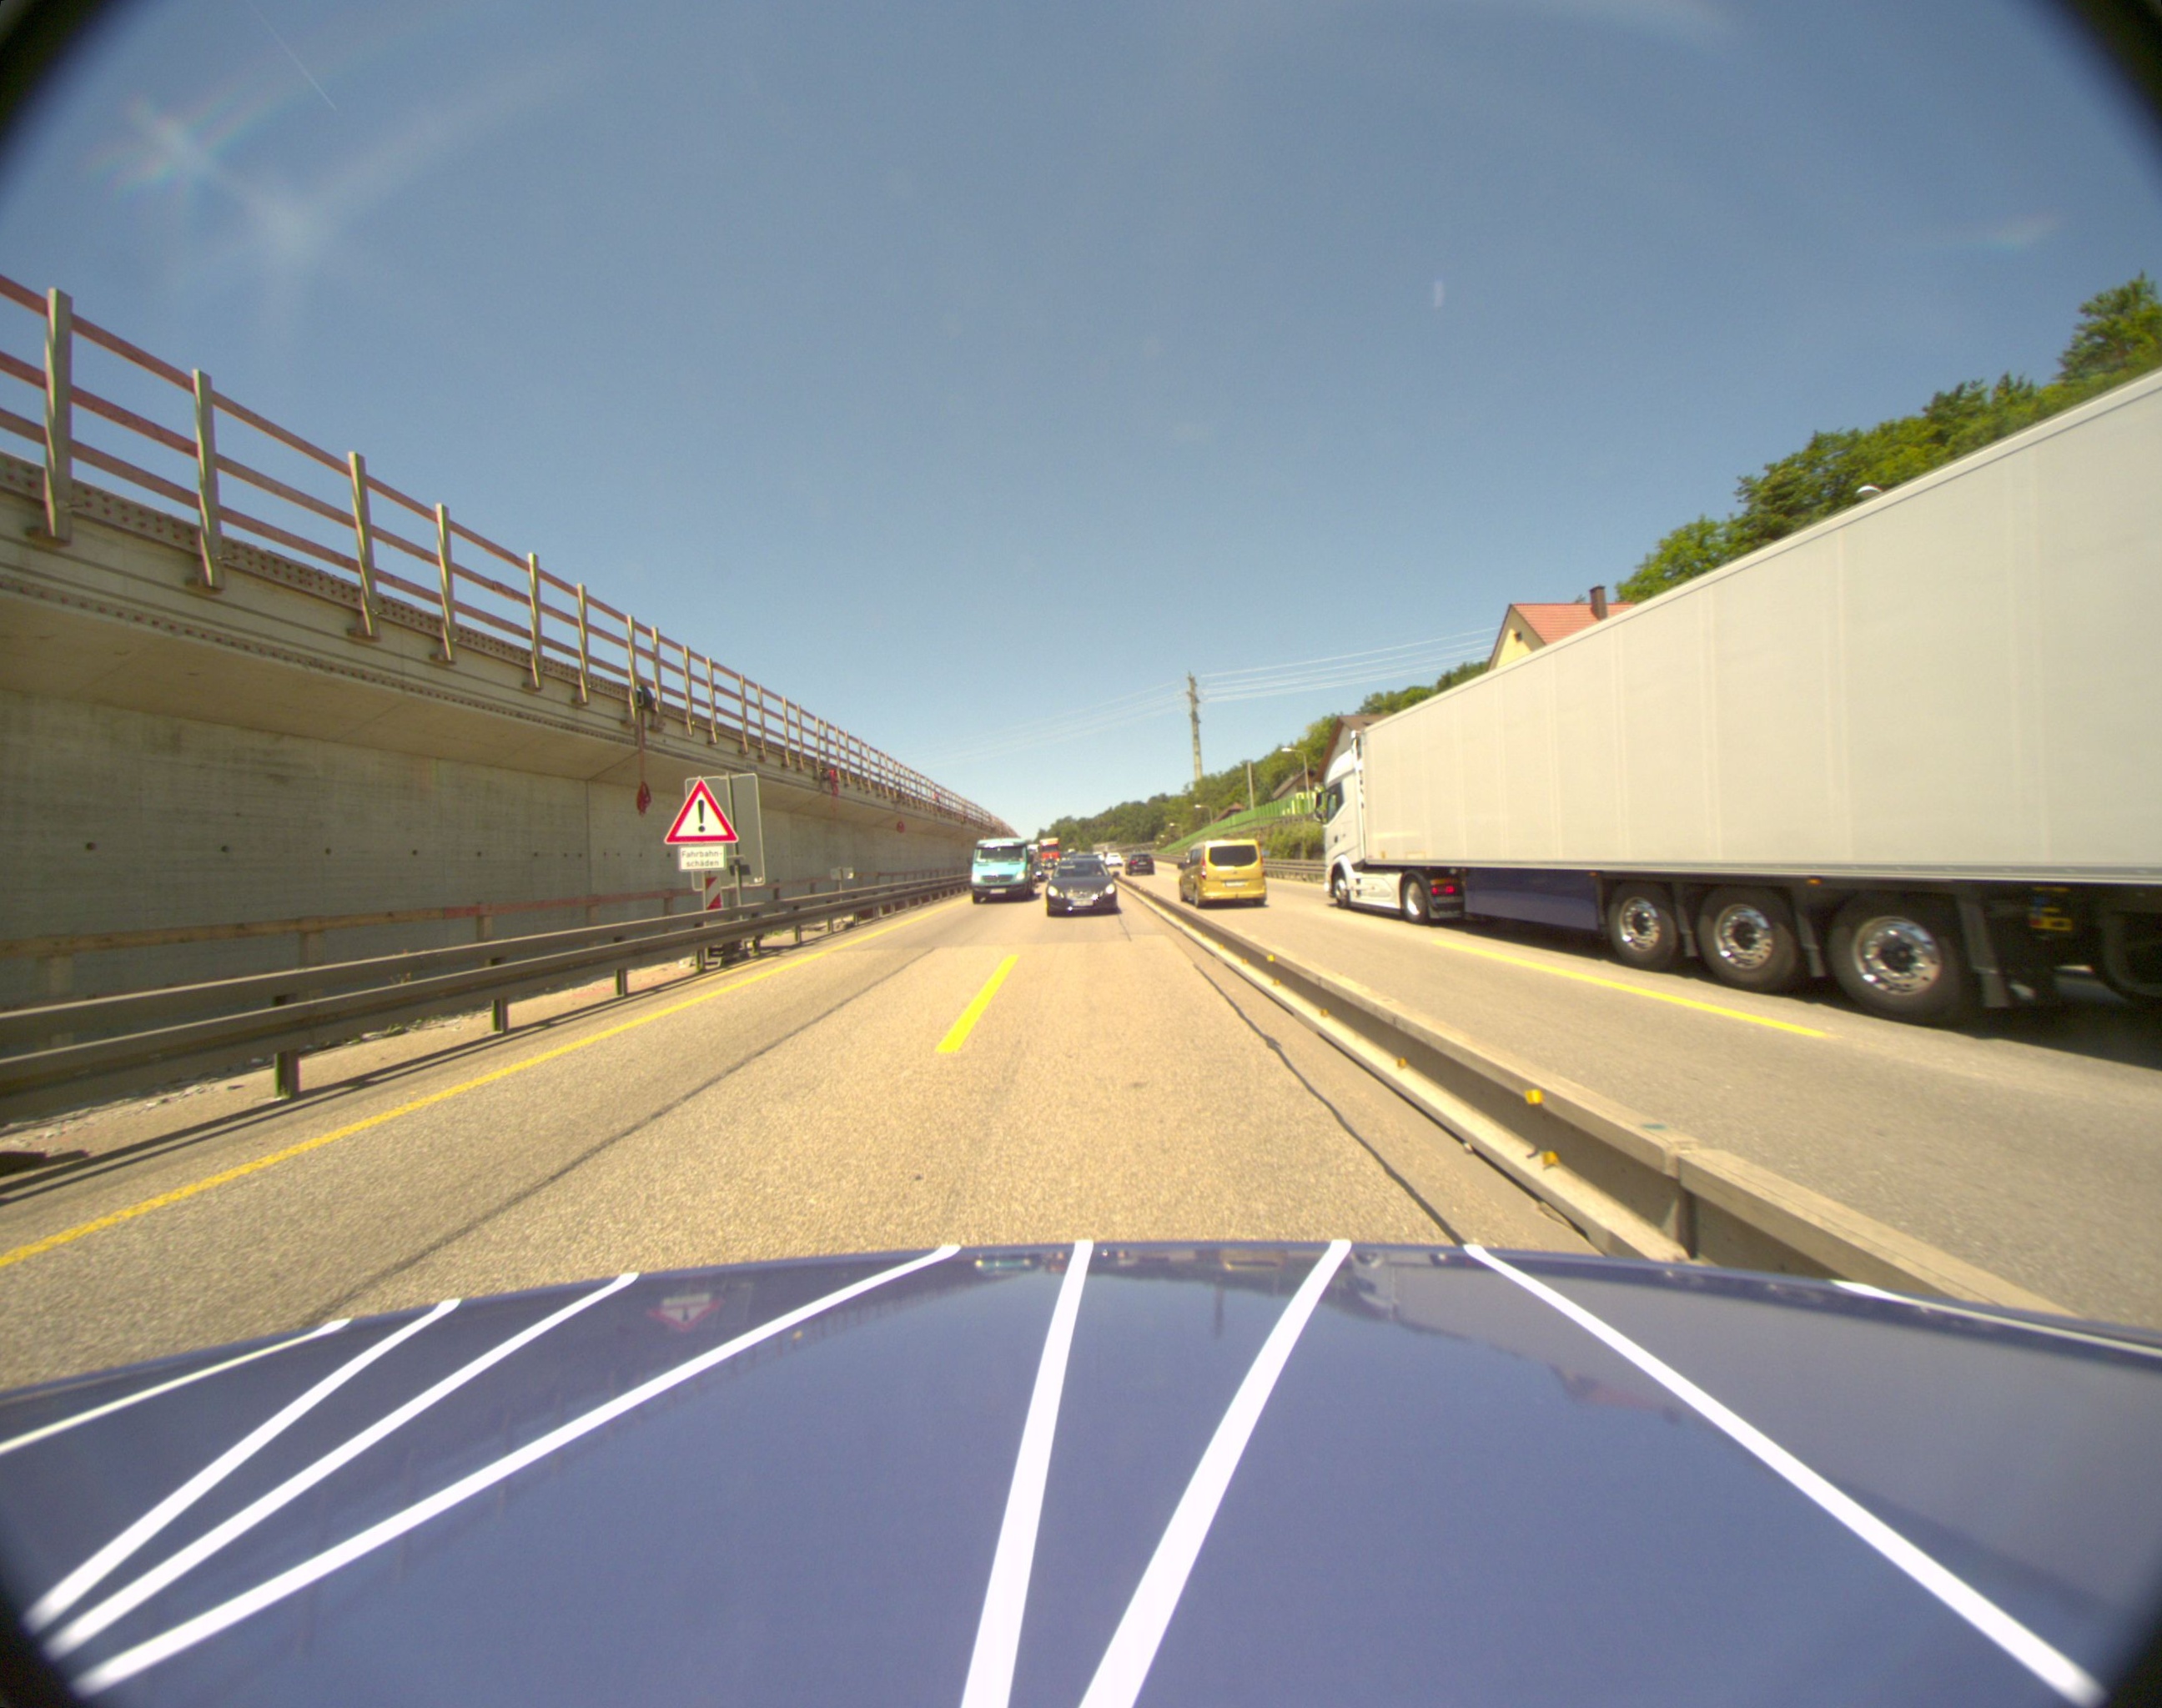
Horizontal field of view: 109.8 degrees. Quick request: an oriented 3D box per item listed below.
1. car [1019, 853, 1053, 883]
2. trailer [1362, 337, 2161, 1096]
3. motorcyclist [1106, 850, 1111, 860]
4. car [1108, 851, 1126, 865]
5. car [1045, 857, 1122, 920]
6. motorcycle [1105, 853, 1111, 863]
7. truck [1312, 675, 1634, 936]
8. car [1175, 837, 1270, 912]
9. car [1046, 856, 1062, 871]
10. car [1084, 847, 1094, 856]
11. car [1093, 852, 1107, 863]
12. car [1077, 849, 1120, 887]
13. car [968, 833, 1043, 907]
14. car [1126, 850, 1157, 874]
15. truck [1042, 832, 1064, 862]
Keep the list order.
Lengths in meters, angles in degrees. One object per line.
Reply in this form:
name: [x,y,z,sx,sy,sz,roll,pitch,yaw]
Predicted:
car: [-2.906,0.901,49.956,1.860,1.650,3.999,-6,1,-1]
trailer: [7.556,-0.805,9.254,3.228,4.134,13.407,-2,0,0]
motorcyclist: [4.514,0.180,124.959,0.667,1.576,0.736,-2,2,0]
car: [3.840,0.425,81.648,1.695,1.477,3.749,-3,0,-1]
car: [-0.035,0.858,20.759,1.793,1.440,4.296,-2,0,-3]
motorcycle: [4.468,0.646,124.899,0.792,1.542,2.621,-3,0,0]
truck: [7.555,-0.852,15.945,3.189,4.214,6.483,-3,1,-1]
car: [3.854,0.514,21.425,1.780,1.810,4.433,-3,0,0]
car: [-3.282,1.167,93.853,1.674,1.499,3.647,-6,1,0]
car: [1.434,-0.433,137.321,1.768,1.601,3.891,-3,0,-1]
car: [2.738,0.429,110.028,1.771,1.477,3.865,-3,0,-1]
car: [0.843,0.653,39.259,1.860,1.650,3.998,-6,1,-2]
car: [-2.724,0.499,29.347,1.968,2.367,7.209,-4,1,0]
car: [4.245,0.547,53.775,1.704,1.552,4.102,-2,0,-1]
truck: [-4.197,-1.057,112.718,2.651,3.978,11.191,-6,1,-3]
